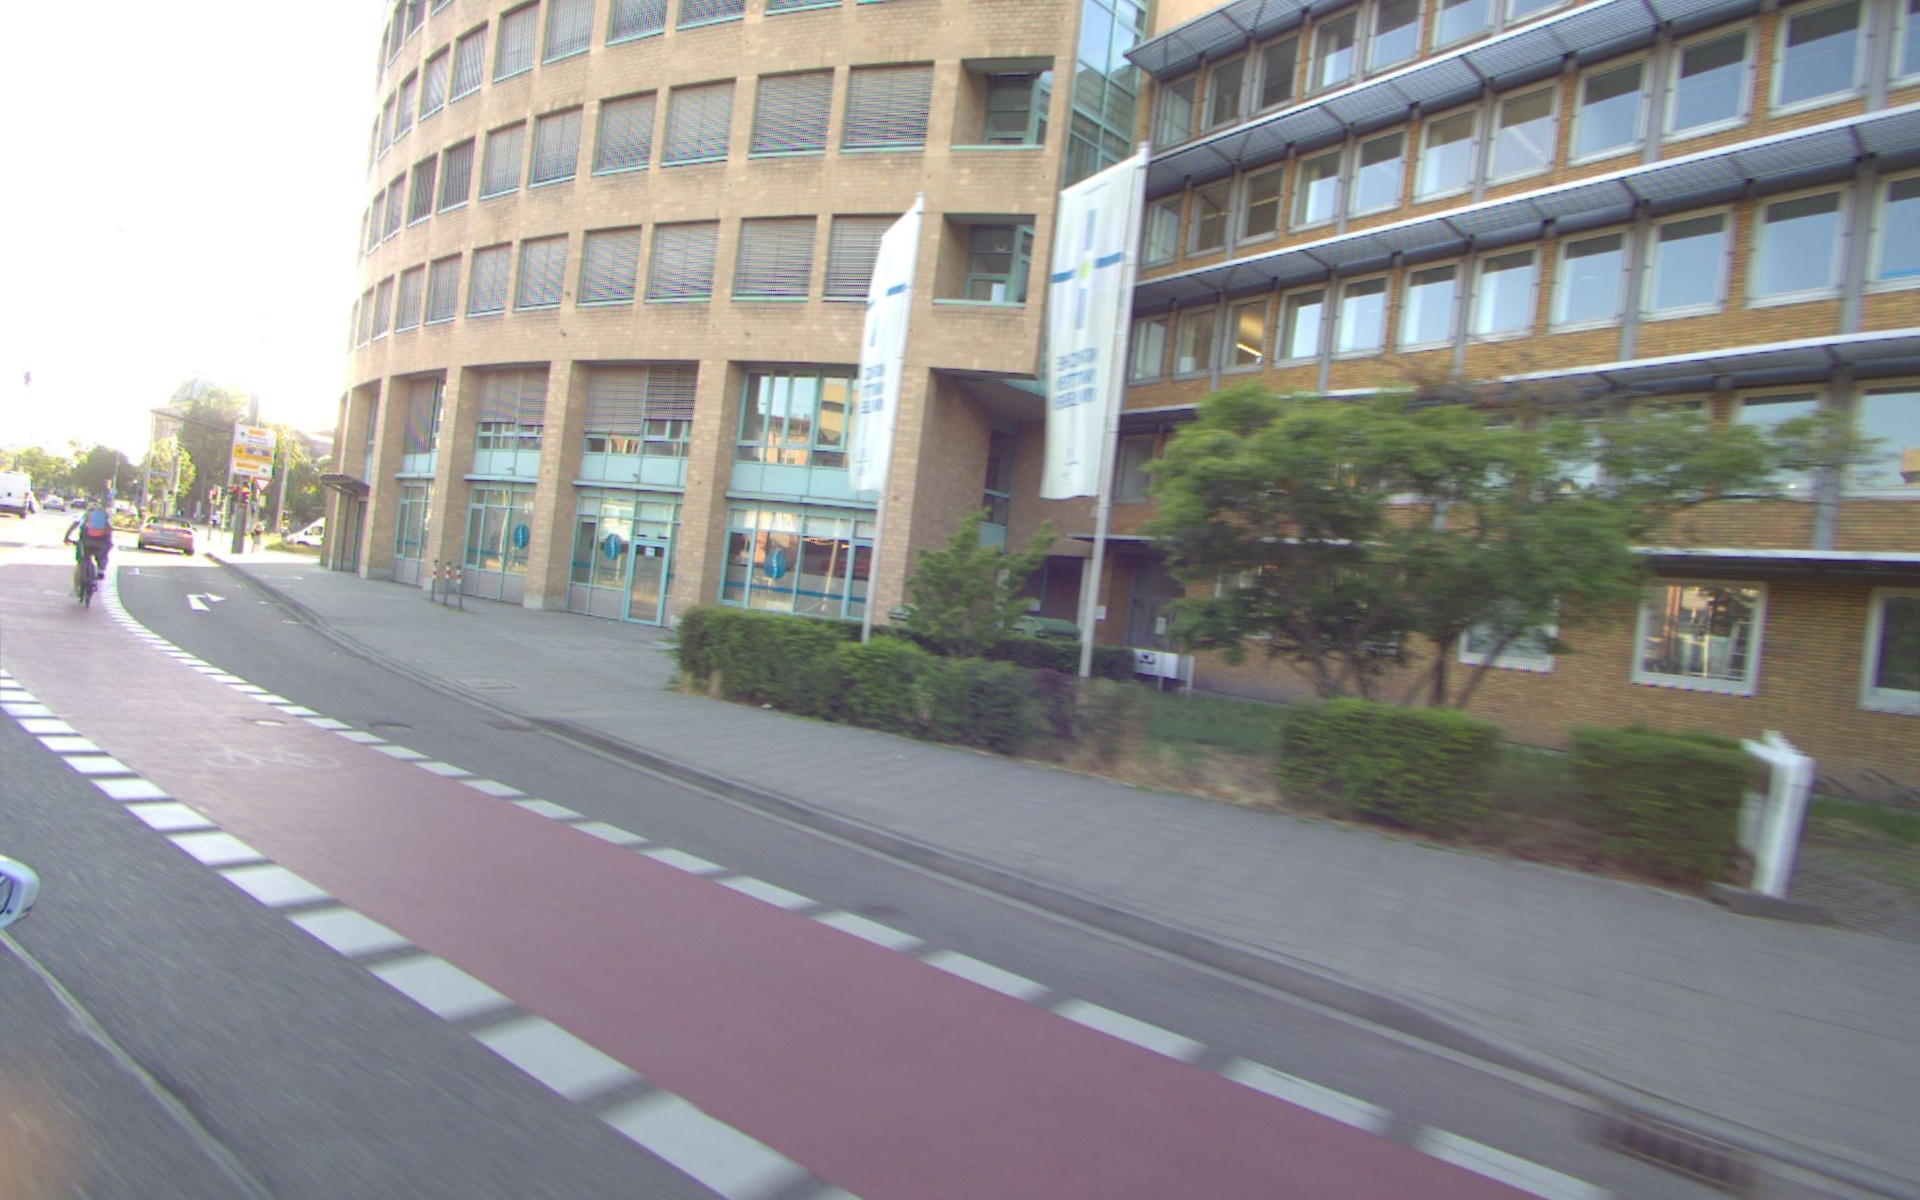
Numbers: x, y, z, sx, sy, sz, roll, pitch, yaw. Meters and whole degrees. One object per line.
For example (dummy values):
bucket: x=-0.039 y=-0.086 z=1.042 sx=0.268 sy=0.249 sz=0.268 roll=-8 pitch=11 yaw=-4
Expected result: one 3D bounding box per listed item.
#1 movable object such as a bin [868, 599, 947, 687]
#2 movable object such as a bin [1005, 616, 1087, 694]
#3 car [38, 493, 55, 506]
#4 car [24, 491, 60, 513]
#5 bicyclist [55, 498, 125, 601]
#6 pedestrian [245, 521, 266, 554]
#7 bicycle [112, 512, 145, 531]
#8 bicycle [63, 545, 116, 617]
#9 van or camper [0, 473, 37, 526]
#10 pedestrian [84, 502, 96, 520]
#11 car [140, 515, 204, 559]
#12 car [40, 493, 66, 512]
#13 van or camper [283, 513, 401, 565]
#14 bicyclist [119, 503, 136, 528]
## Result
movable object such as a bin: x=-1.016 y=0.796 z=19.128 sx=0.961 sy=1.456 sz=1.338 roll=7 pitch=1 yaw=-21
movable object such as a bin: x=1.786 y=1.145 z=20.845 sx=0.911 sy=1.442 sz=1.338 roll=9 pitch=1 yaw=42
car: x=-138.976 y=-15.236 z=152.998 sx=1.789 sy=1.586 sz=3.949 roll=7 pitch=1 yaw=-44
car: x=-71.668 y=-7.660 z=78.608 sx=1.729 sy=1.403 sz=3.955 roll=7 pitch=1 yaw=-39
bicyclist: x=-13.817 y=-0.809 z=15.976 sx=0.653 sy=1.500 sz=1.025 roll=9 pitch=-2 yaw=-42
pedestrian: x=-35.678 y=-3.171 z=50.941 sx=0.674 sy=1.589 sz=0.790 roll=6 pitch=2 yaw=-42
bicycle: x=-58.005 y=-5.465 z=70.196 sx=1.722 sy=0.982 sz=0.602 roll=8 pitch=0 yaw=-41
bicycle: x=-13.821 y=-0.317 z=15.958 sx=0.513 sy=0.966 sz=1.754 roll=9 pitch=-1 yaw=-42
van or camper: x=-53.431 y=-5.710 z=56.239 sx=2.253 sy=2.658 sz=4.452 roll=7 pitch=1 yaw=-39
pedestrian: x=-77.339 y=-7.926 z=89.411 sx=0.613 sy=1.494 sz=0.792 roll=6 pitch=2 yaw=-36
car: x=-32.106 y=-2.575 z=40.944 sx=1.777 sy=1.370 sz=4.217 roll=9 pitch=-1 yaw=-41
car: x=-96.286 y=-10.383 z=106.789 sx=1.789 sy=1.586 sz=3.949 roll=7 pitch=1 yaw=-44
van or camper: x=-45.415 y=-4.452 z=74.071 sx=7.009 sy=2.708 sz=2.570 roll=7 pitch=1 yaw=-38
bicyclist: x=-58.045 y=-5.891 z=70.114 sx=0.794 sy=1.591 sz=0.655 roll=6 pitch=2 yaw=-40
